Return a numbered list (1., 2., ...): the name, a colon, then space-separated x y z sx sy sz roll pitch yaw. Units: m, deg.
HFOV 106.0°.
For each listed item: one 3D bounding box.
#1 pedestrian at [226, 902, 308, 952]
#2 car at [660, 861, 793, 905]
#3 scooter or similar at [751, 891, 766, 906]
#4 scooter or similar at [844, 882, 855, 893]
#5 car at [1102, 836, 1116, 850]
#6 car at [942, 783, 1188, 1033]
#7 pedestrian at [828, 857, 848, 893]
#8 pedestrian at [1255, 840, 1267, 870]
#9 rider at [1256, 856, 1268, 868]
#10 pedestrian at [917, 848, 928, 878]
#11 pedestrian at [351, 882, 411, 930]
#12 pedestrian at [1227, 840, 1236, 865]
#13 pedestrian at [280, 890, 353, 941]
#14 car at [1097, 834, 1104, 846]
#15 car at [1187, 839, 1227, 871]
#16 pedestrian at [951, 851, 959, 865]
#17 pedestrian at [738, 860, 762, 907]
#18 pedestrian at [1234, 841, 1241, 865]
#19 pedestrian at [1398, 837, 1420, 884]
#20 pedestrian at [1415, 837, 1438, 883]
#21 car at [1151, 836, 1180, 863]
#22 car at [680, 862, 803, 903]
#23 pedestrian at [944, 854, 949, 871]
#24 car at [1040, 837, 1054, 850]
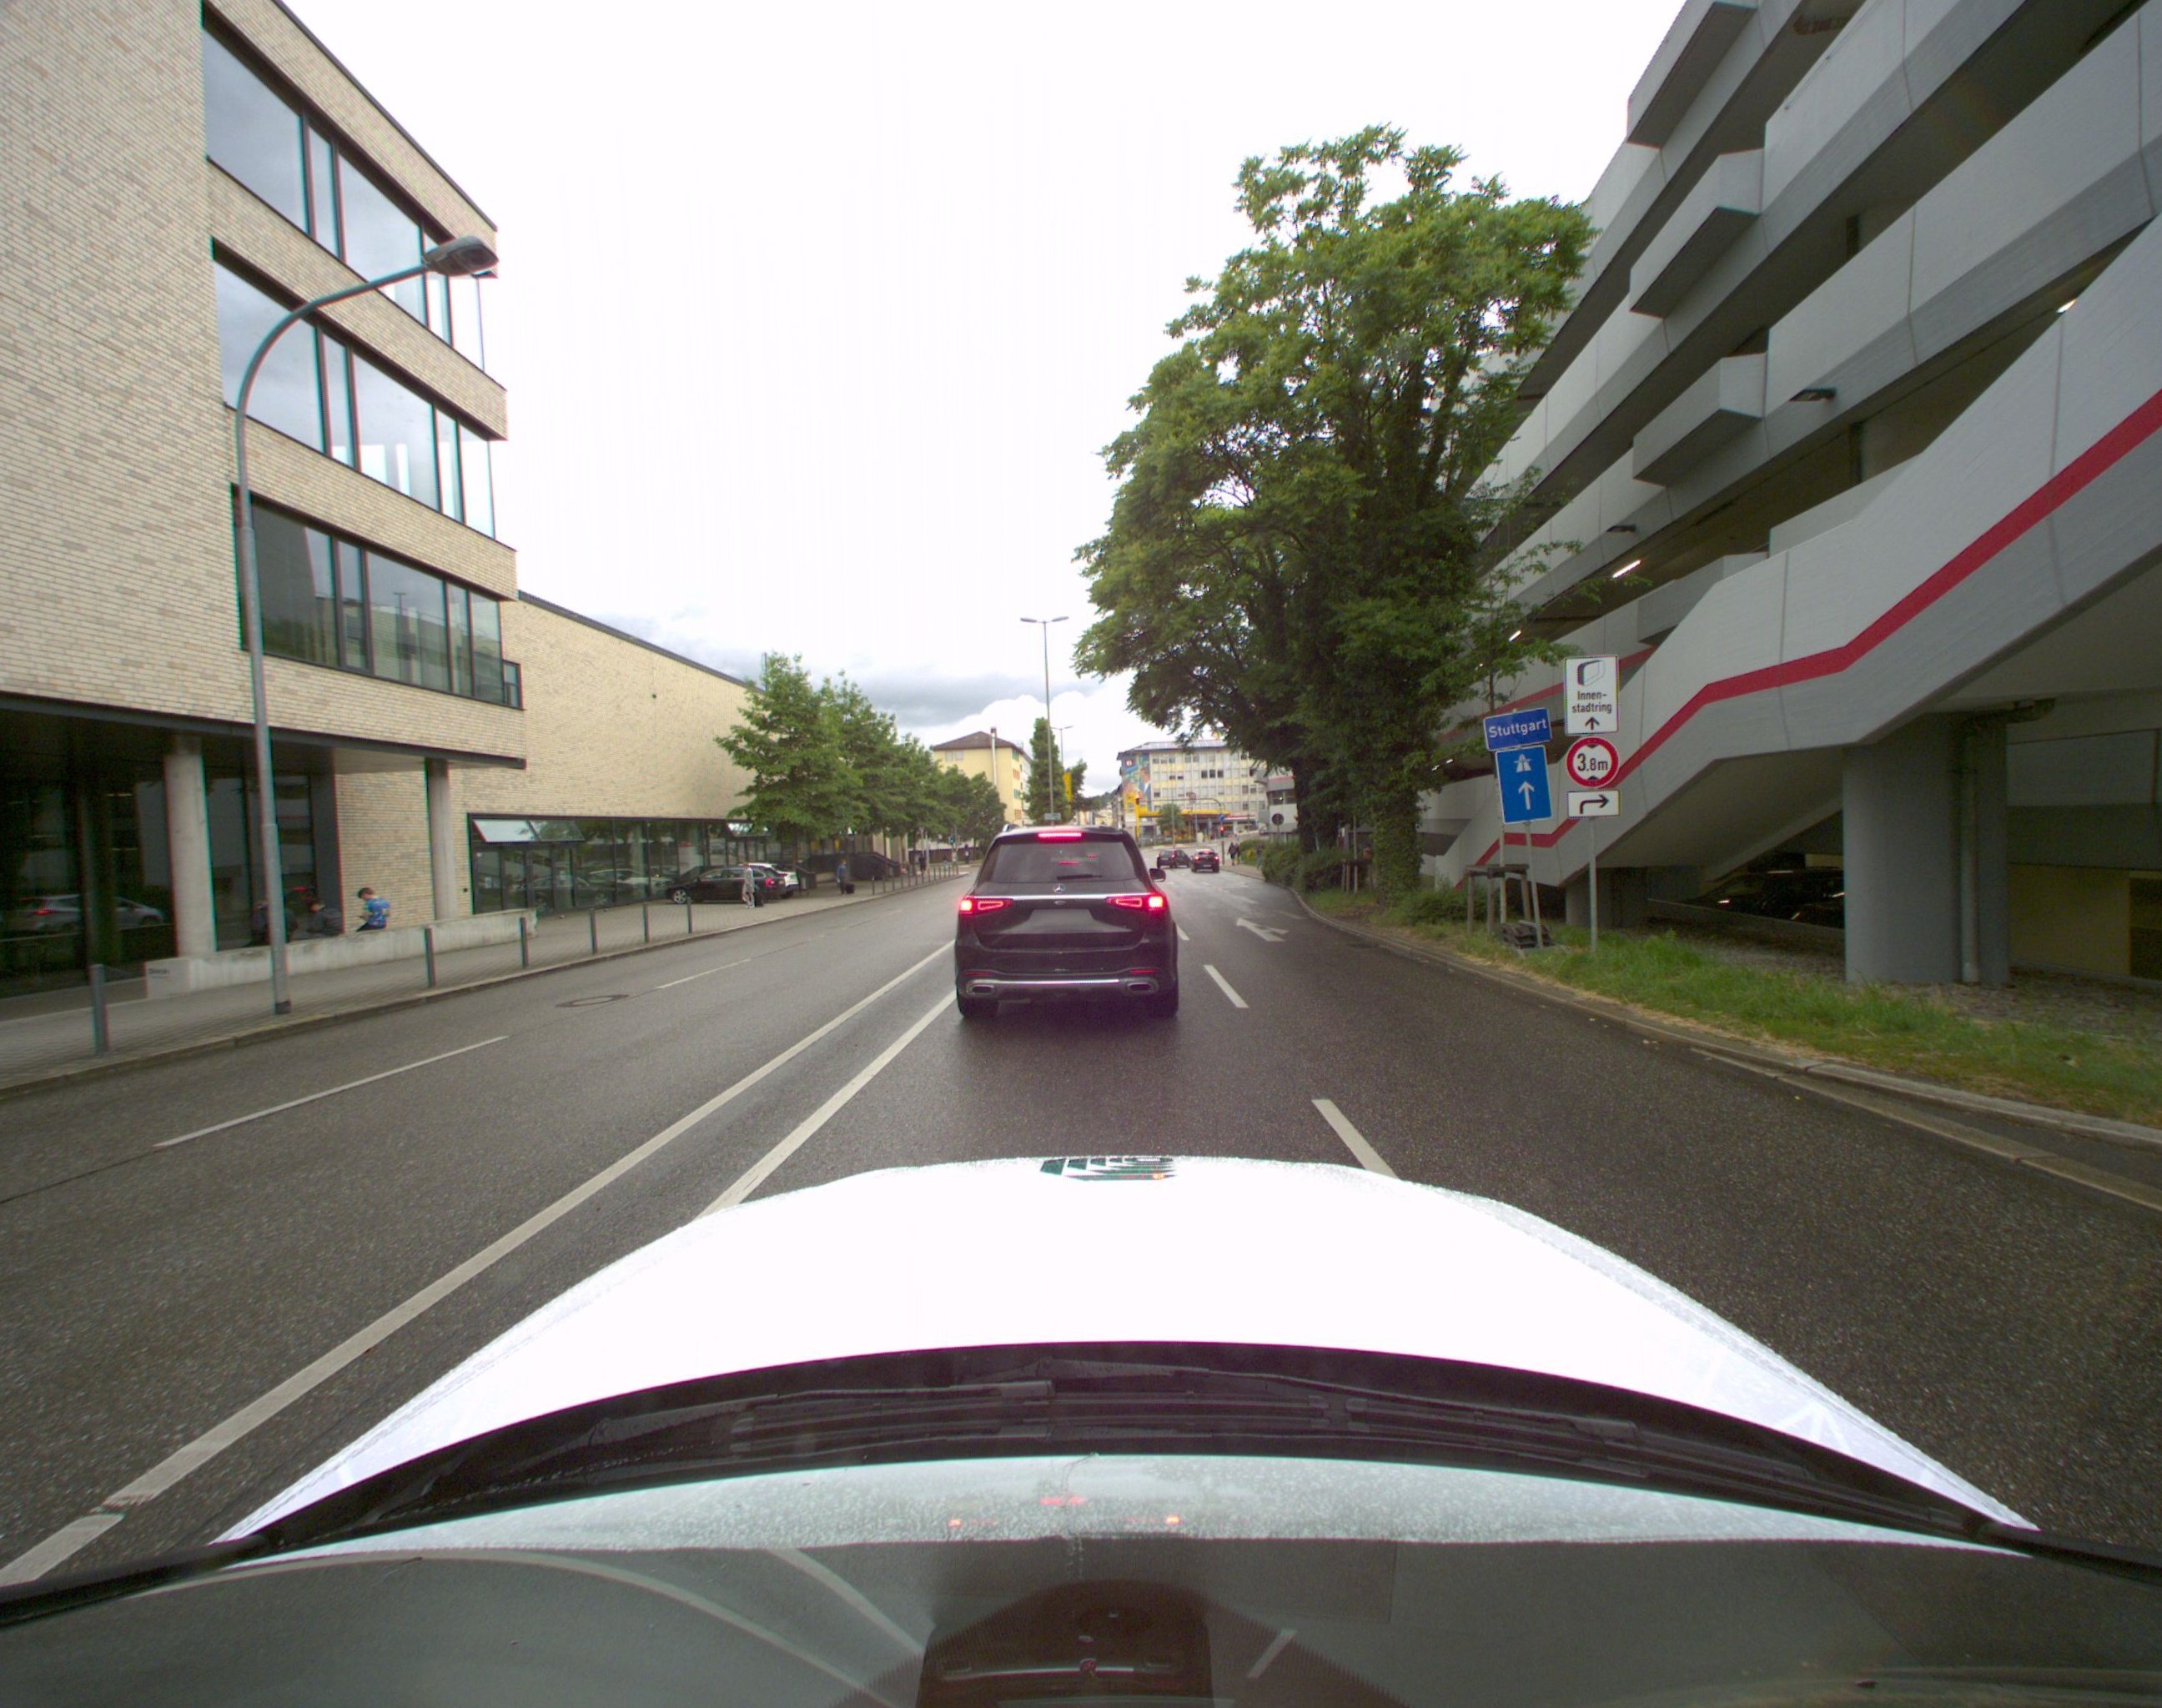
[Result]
1. pedestrian: -13.575 1.207 13.597 0.595 0.786 0.760 0 -1 1
2. car: -14.127 1.135 32.676 4.461 1.587 1.997 -1 0 -5
3. scooter or similar: -11.875 1.640 29.973 0.279 0.501 0.616 0 -1 1
4. scooter or similar: -11.323 1.644 39.873 0.358 0.536 0.499 0 -2 1
5. car: 4.247 -1.665 125.412 1.988 2.014 3.998 0 -1 -1
6. car: -0.111 0.457 8.605 1.987 2.014 4.000 0 -1 0
7. pedestrian: -11.658 1.004 39.119 0.686 1.726 0.754 0 -3 0
8. pedestrian: 11.494 0.061 51.986 0.659 1.917 0.730 0 -1 6
9. rider: 11.458 0.521 51.490 0.689 0.740 0.634 0 -1 9
10. pedestrian: -11.009 0.616 56.618 0.586 2.013 0.749 2 1 0
11. pedestrian: -13.441 0.986 15.641 0.679 0.886 0.524 0 -1 -2
12. pedestrian: 11.773 -0.113 63.587 0.617 1.935 0.611 0 -1 3
13. pedestrian: -13.533 1.074 14.435 0.584 0.845 0.727 -1 -1 1
14. car: 5.813 -4.221 245.637 1.987 2.007 4.013 0 23 0
15. car: 8.377 0.044 54.500 1.987 2.013 3.999 -1 0 0
16. pedestrian: -13.191 0.447 85.023 0.709 1.462 0.598 0 -1 0
17. pedestrian: -11.934 1.059 29.367 0.673 1.697 0.479 0 -1 1
18. pedestrian: 12.559 -0.065 65.344 0.518 1.911 0.556 0 -1 1
19. pedestrian: 10.793 0.224 26.815 0.548 1.532 0.489 0 -1 8
20. pedestrian: 11.376 0.201 26.846 0.579 1.501 0.505 0 -1 7
21. car: 6.506 -0.341 63.362 1.986 2.014 4.002 0 -1 2
22. car: -14.578 1.192 35.172 4.407 1.573 1.998 -1 1 -4
23. pedestrian: -13.013 0.854 78.686 0.398 1.644 0.567 0 -1 2
24. car: -5.060 -1.573 121.869 1.987 1.875 5.141 0 -1 0
